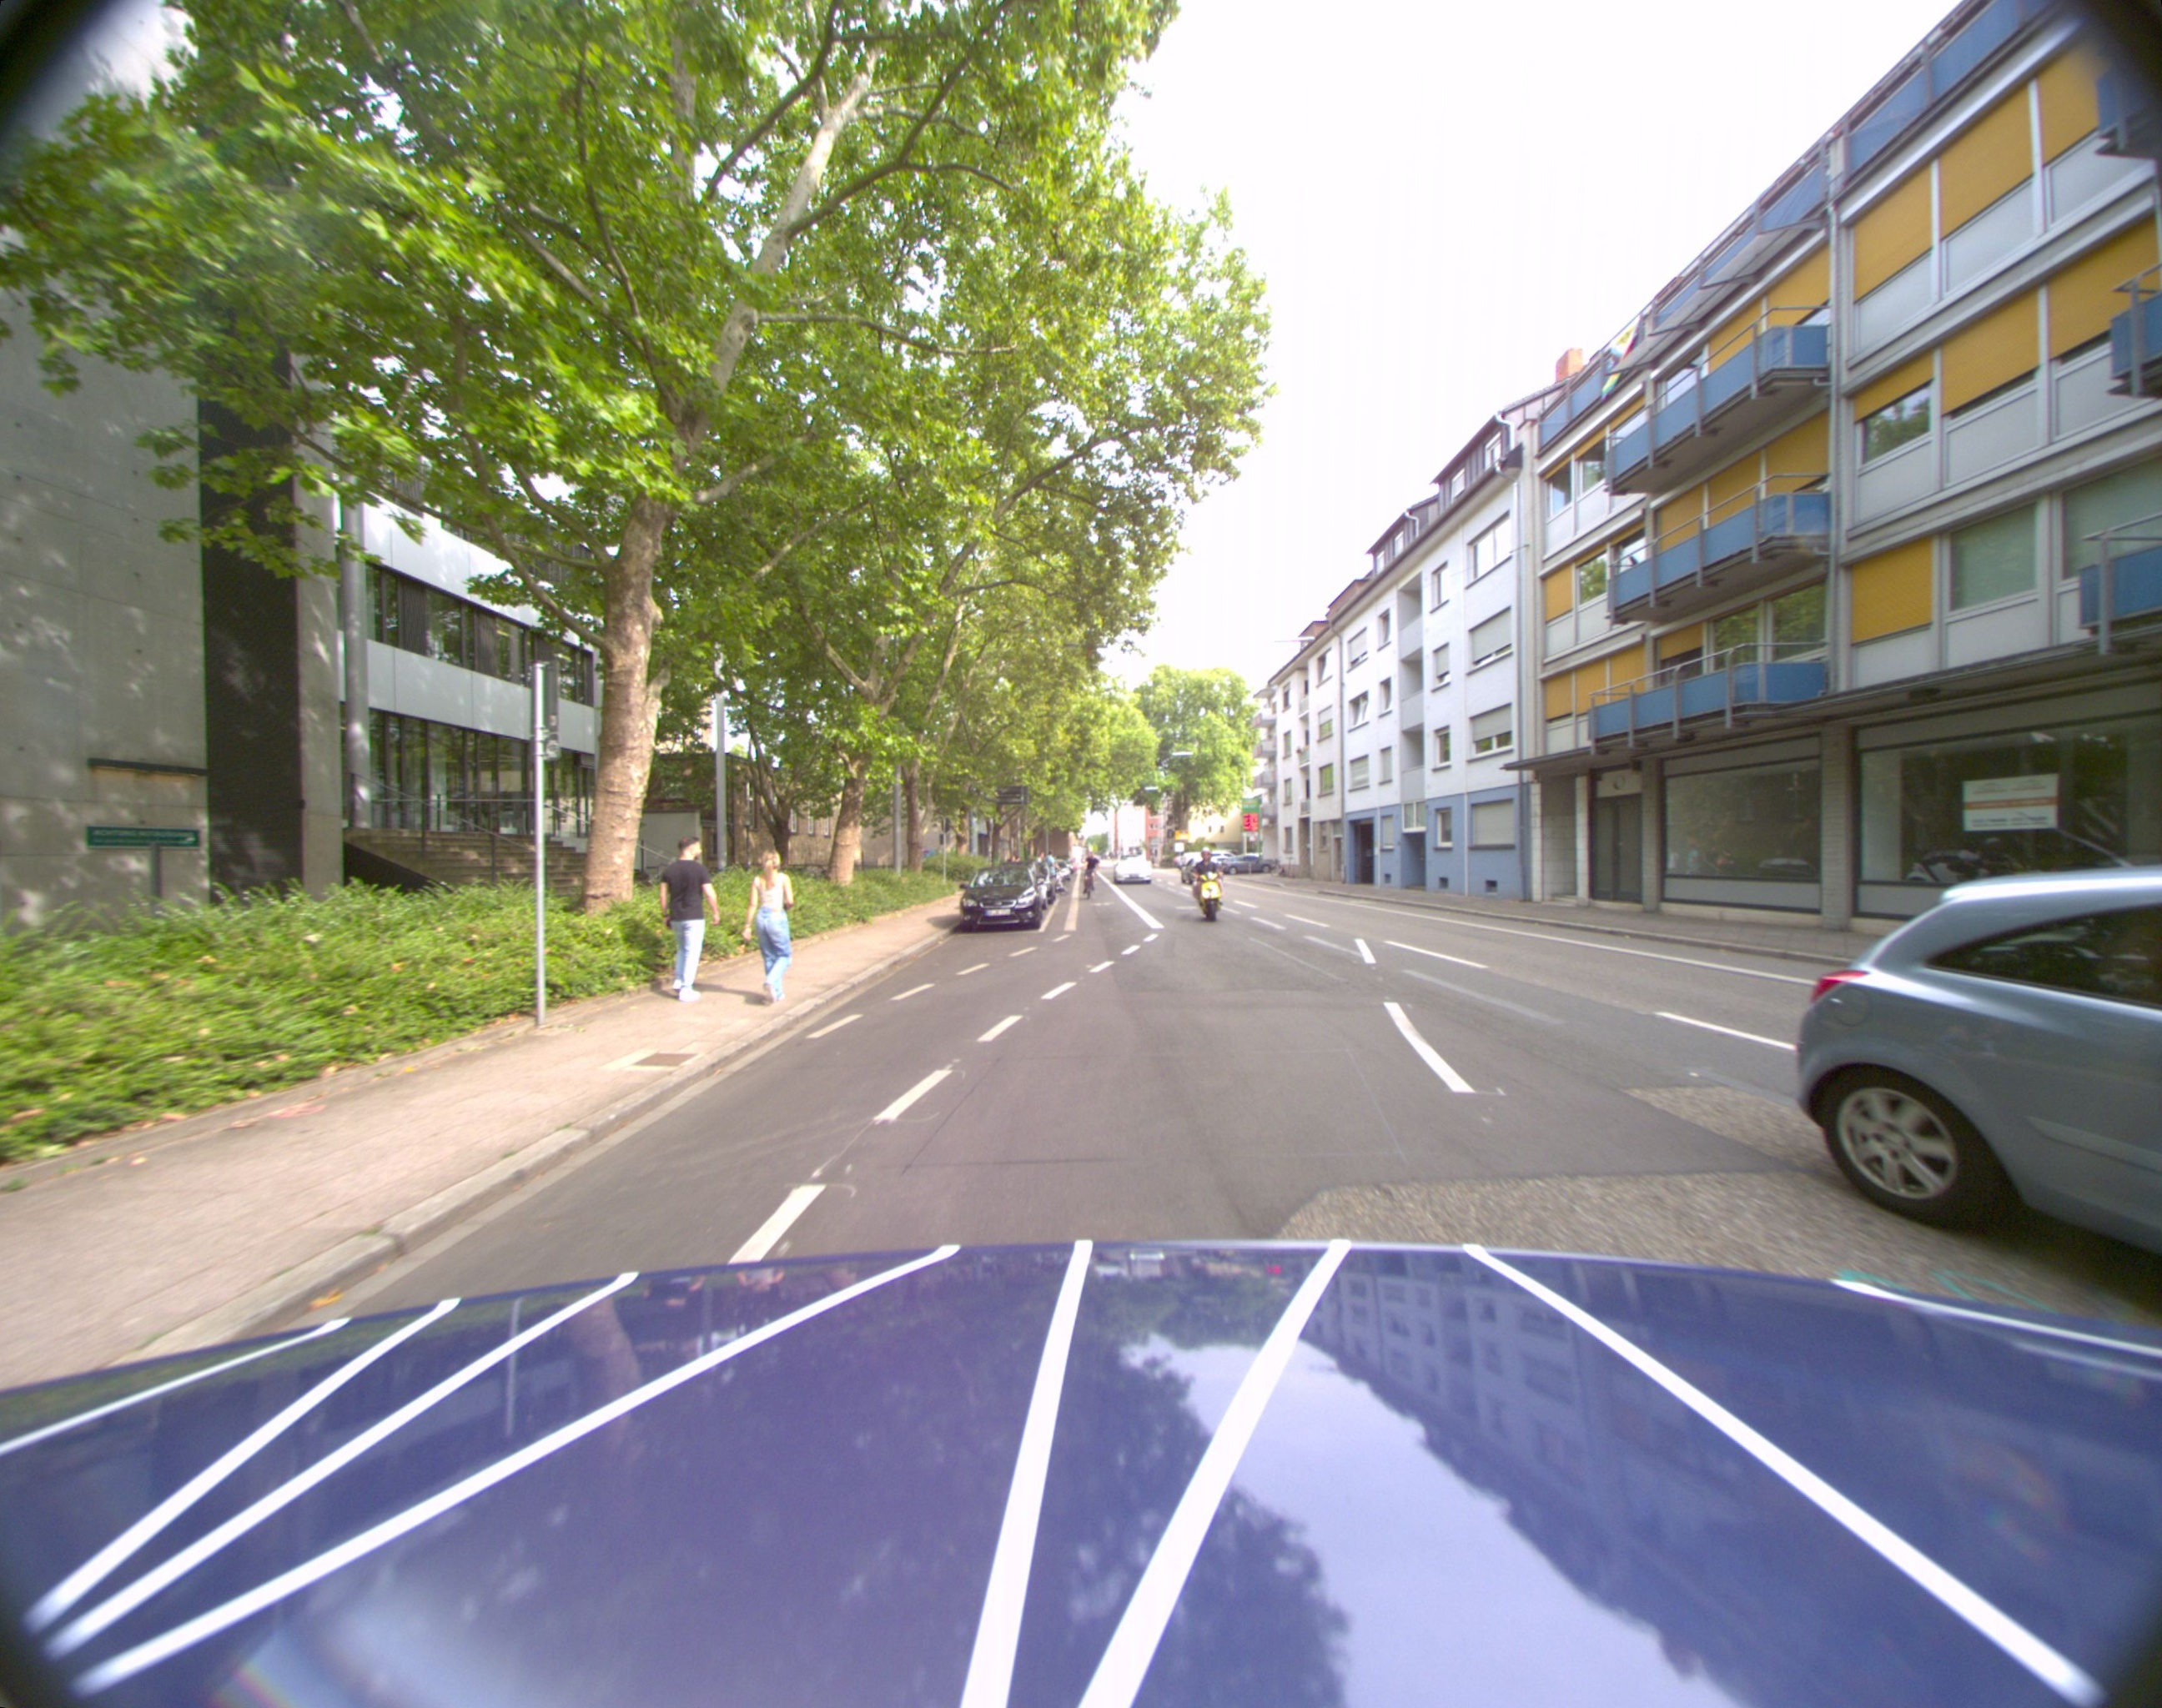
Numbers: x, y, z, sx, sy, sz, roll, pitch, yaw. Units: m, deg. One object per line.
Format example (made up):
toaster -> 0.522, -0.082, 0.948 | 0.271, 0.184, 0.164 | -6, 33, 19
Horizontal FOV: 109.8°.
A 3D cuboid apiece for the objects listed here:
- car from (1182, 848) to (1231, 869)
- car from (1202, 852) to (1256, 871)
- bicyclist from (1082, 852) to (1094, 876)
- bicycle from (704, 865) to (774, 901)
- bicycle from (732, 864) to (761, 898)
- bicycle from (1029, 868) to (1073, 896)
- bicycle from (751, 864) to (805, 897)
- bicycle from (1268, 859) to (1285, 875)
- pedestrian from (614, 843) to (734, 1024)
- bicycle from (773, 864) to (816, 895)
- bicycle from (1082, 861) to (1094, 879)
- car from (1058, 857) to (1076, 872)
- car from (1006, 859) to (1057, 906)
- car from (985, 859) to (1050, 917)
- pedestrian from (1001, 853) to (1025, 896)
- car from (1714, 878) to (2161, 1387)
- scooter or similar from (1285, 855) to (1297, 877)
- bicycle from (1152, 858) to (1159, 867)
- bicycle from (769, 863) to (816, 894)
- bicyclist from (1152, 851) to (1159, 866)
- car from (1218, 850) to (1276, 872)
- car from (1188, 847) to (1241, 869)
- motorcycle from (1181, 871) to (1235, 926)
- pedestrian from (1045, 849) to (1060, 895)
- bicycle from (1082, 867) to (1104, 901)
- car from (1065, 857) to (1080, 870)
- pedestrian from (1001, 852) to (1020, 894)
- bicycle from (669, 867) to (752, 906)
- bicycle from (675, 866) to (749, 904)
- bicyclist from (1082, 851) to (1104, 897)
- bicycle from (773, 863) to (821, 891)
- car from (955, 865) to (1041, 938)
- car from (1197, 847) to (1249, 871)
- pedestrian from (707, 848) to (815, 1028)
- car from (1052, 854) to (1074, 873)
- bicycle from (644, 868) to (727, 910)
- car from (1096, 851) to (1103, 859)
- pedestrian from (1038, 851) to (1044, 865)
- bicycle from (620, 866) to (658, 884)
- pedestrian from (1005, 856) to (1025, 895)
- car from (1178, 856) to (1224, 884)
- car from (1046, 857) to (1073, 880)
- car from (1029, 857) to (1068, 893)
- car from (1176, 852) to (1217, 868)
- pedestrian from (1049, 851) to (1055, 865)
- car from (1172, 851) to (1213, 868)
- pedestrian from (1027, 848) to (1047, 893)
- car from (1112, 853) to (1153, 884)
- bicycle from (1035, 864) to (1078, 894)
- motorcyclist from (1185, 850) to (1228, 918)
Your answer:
car -> 12.698, 0.412, 77.211 | 4.627, 1.848, 1.950 | -3, 0, 1
car -> 12.738, 0.633, 65.698 | 4.282, 1.442, 1.874 | -3, 0, 1
bicyclist -> 0.471, 0.668, 51.300 | 0.749, 1.590, 0.819 | -2, 0, 1
bicycle -> -10.798, 0.912, 24.032 | 1.920, 1.111, 0.673 | 0, 0, 0
bicycle -> -11.652, 0.924, 26.479 | 0.492, 1.111, 1.437 | 0, 0, -5
bicycle -> -1.271, 1.168, 32.106 | 1.740, 1.099, 0.552 | -2, 1, -11
bicycle -> -10.483, 0.900, 26.358 | 1.701, 1.111, 0.622 | 0, 0, -19
bicycle -> 12.089, 0.804, 47.068 | 0.598, 0.945, 1.662 | -2, 0, 0
pedestrian -> -4.267, 0.789, 8.046 | 0.717, 1.789, 1.033 | 1, 1, -1
bicycle -> -10.387, 0.905, 27.546 | 1.382, 1.111, 0.468 | 0, 1, -7
bicycle -> 0.472, 1.047, 51.296 | 0.763, 1.162, 1.949 | -2, 0, 1
car -> -1.361, 1.032, 77.158 | 1.644, 1.424, 4.573 | -3, 0, 0
car -> -1.719, 0.978, 27.502 | 1.532, 1.493, 3.660 | -2, 0, 0
car -> -1.846, 0.962, 22.625 | 1.539, 1.534, 2.599 | -2, 0, 3
pedestrian -> -2.879, 0.860, 32.199 | 0.873, 1.806, 0.780 | -2, 1, 0
car -> 4.035, 0.845, 1.658 | 1.717, 1.412, 4.252 | -1, 0, -1
scooter or similar -> 12.264, 0.686, 44.361 | 0.350, 1.214, 1.202 | -2, 0, 0
bicycle -> 9.143, 1.008, 93.055 | 0.647, 1.008, 2.076 | -2, 1, 0
bicycle -> -10.617, 0.907, 27.990 | 1.544, 1.111, 0.468 | 0, 1, -7
bicyclist -> 9.126, 0.521, 93.025 | 0.653, 1.800, 1.045 | -2, 1, 0
car -> 13.229, 0.585, 60.689 | 4.161, 1.504, 1.837 | -3, 0, 1
car -> 13.086, 0.394, 74.789 | 4.778, 1.923, 1.994 | -3, 0, 1
motorcycle -> 3.046, 1.035, 18.473 | 0.904, 1.190, 2.630 | -1, 0, 1
pedestrian -> -1.207, 0.750, 32.373 | 0.476, 1.923, 0.744 | -2, 1, -11
bicycle -> 0.446, 1.115, 28.726 | 0.763, 1.162, 1.949 | -2, 0, 1
car -> -1.031, 1.111, 92.269 | 1.602, 1.438, 4.105 | -3, 0, 0
pedestrian -> -3.139, 0.843, 33.975 | 0.723, 1.844, 0.703 | -2, 1, 0
bicycle -> -10.692, 0.926, 21.967 | 2.084, 1.111, 0.673 | 0, 0, 0
bicycle -> -11.149, 0.931, 23.009 | 1.920, 1.111, 0.673 | 0, 0, 0
bicyclist -> 0.442, 0.740, 29.004 | 0.764, 1.698, 0.917 | -2, 0, 0
bicycle -> -11.234, 0.908, 30.096 | 1.679, 1.111, 0.604 | 0, 0, -6
car -> -1.882, 1.033, 18.357 | 1.702, 1.417, 4.421 | -2, 0, -2
car -> 12.667, 0.435, 68.018 | 4.221, 1.837, 1.924 | -3, 0, 1
pedestrian -> -3.350, 0.827, 8.037 | 0.712, 1.773, 1.033 | 1, 1, -1
car -> -1.693, 0.891, 71.847 | 1.926, 1.612, 4.480 | -3, 0, -1
bicycle -> -10.721, 0.938, 20.630 | 1.920, 1.111, 0.673 | 0, 0, 0
car -> 5.788, 0.285, 236.394 | 1.998, 2.546, 4.799 | -1, 0, 1
pedestrian -> -5.024, 0.489, 95.009 | 0.644, 1.823, 0.645 | 3, 1, -1
bicycle -> -22.401, 1.078, 38.513 | 1.623, 0.873, 0.508 | -1, 3, 5
pedestrian -> -2.854, 0.929, 32.978 | 0.723, 1.648, 0.655 | -2, 1, 0
car -> 6.322, 0.813, 40.466 | 1.762, 1.419, 4.098 | 1, 0, -1
car -> -1.522, 0.987, 53.325 | 1.647, 1.438, 3.881 | -3, 0, -4
car -> -1.585, 0.976, 37.116 | 1.685, 1.507, 4.543 | -3, 0, -2
car -> 13.054, 0.645, 86.316 | 4.372, 1.540, 1.733 | -3, 0, 1
pedestrian -> -3.626, 0.511, 94.773 | 0.592, 1.775, 0.476 | 3, 1, -1
car -> 12.981, 0.633, 88.631 | 4.529, 1.596, 1.754 | -3, 0, 1
pedestrian -> -1.956, 0.745, 34.160 | 0.795, 1.986, 0.750 | -2, 1, 0
car -> 2.843, 0.779, 42.965 | 2.000, 1.556, 4.550 | -1, 0, 0
bicycle -> -1.078, 1.096, 33.399 | 1.796, 1.210, 0.552 | -2, 1, -17
motorcyclist -> 3.046, 0.721, 18.473 | 0.904, 1.608, 0.691 | -1, 1, 1
